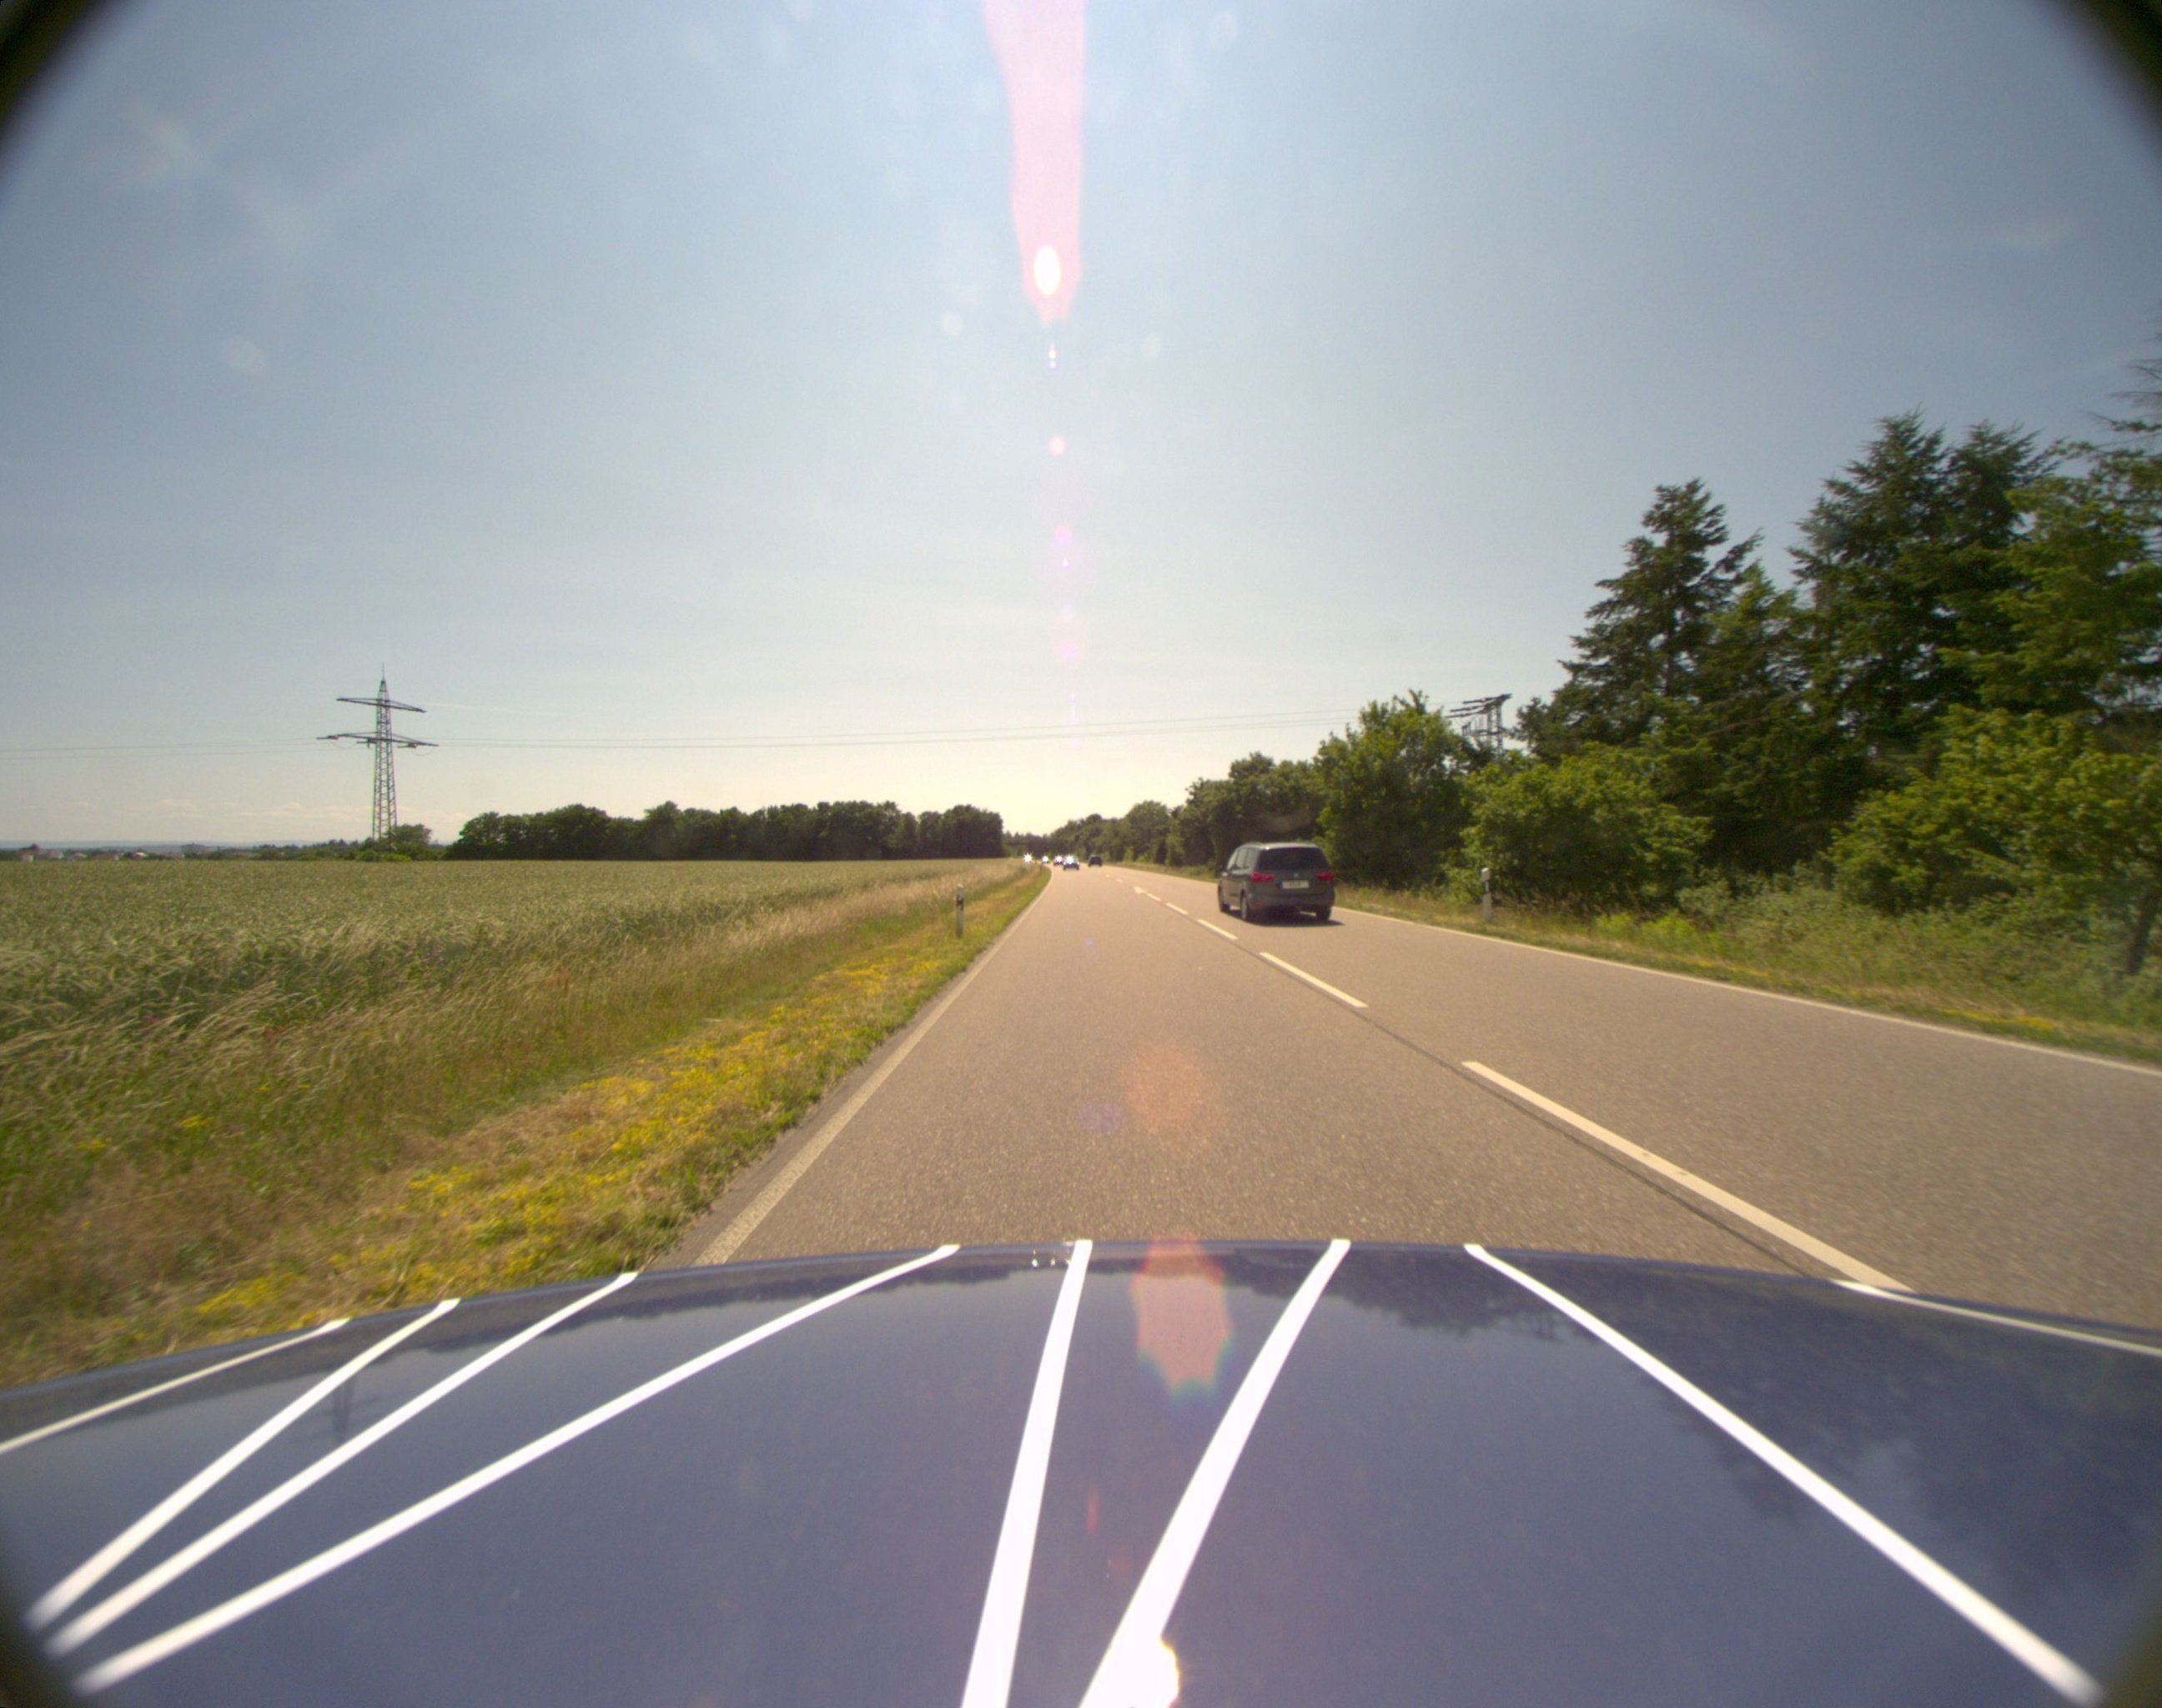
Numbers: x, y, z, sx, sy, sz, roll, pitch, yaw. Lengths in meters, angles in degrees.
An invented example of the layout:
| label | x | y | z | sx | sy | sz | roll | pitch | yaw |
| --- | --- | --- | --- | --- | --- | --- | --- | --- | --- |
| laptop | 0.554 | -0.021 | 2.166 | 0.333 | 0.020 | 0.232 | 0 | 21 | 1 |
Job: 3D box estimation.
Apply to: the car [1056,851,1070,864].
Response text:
| label | x | y | z | sx | sy | sz | roll | pitch | yaw |
| --- | --- | --- | --- | --- | --- | --- | --- | --- | --- |
| car | -2.916 | 0.577 | 121.048 | 1.999 | 2.002 | 3.998 | -1 | 0 | -4 |

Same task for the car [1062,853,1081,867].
| label | x | y | z | sx | sy | sz | roll | pitch | yaw |
| --- | --- | --- | --- | --- | --- | --- | --- | --- | --- |
| car | -1.090 | 0.667 | 84.455 | 1.694 | 1.431 | 3.707 | -1 | 0 | -8 |

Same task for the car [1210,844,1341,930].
| label | x | y | z | sx | sy | sz | roll | pitch | yaw |
| --- | --- | --- | --- | --- | --- | --- | --- | --- | --- |
| car | 4.357 | 0.665 | 17.862 | 1.823 | 1.691 | 5.001 | -1 | 0 | 0 |

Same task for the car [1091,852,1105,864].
| label | x | y | z | sx | sy | sz | roll | pitch | yaw |
| --- | --- | --- | --- | --- | --- | --- | --- | --- | --- |
| car | 2.282 | 0.473 | 102.637 | 1.703 | 1.557 | 3.670 | -2 | 0 | -1 |

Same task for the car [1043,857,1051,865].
| label | x | y | z | sx | sy | sz | roll | pitch | yaw |
| --- | --- | --- | --- | --- | --- | --- | --- | --- | --- |
| car | -7.372 | 1.522 | 164.131 | 1.554 | 1.659 | 3.997 | -2 | 1 | -5 |
